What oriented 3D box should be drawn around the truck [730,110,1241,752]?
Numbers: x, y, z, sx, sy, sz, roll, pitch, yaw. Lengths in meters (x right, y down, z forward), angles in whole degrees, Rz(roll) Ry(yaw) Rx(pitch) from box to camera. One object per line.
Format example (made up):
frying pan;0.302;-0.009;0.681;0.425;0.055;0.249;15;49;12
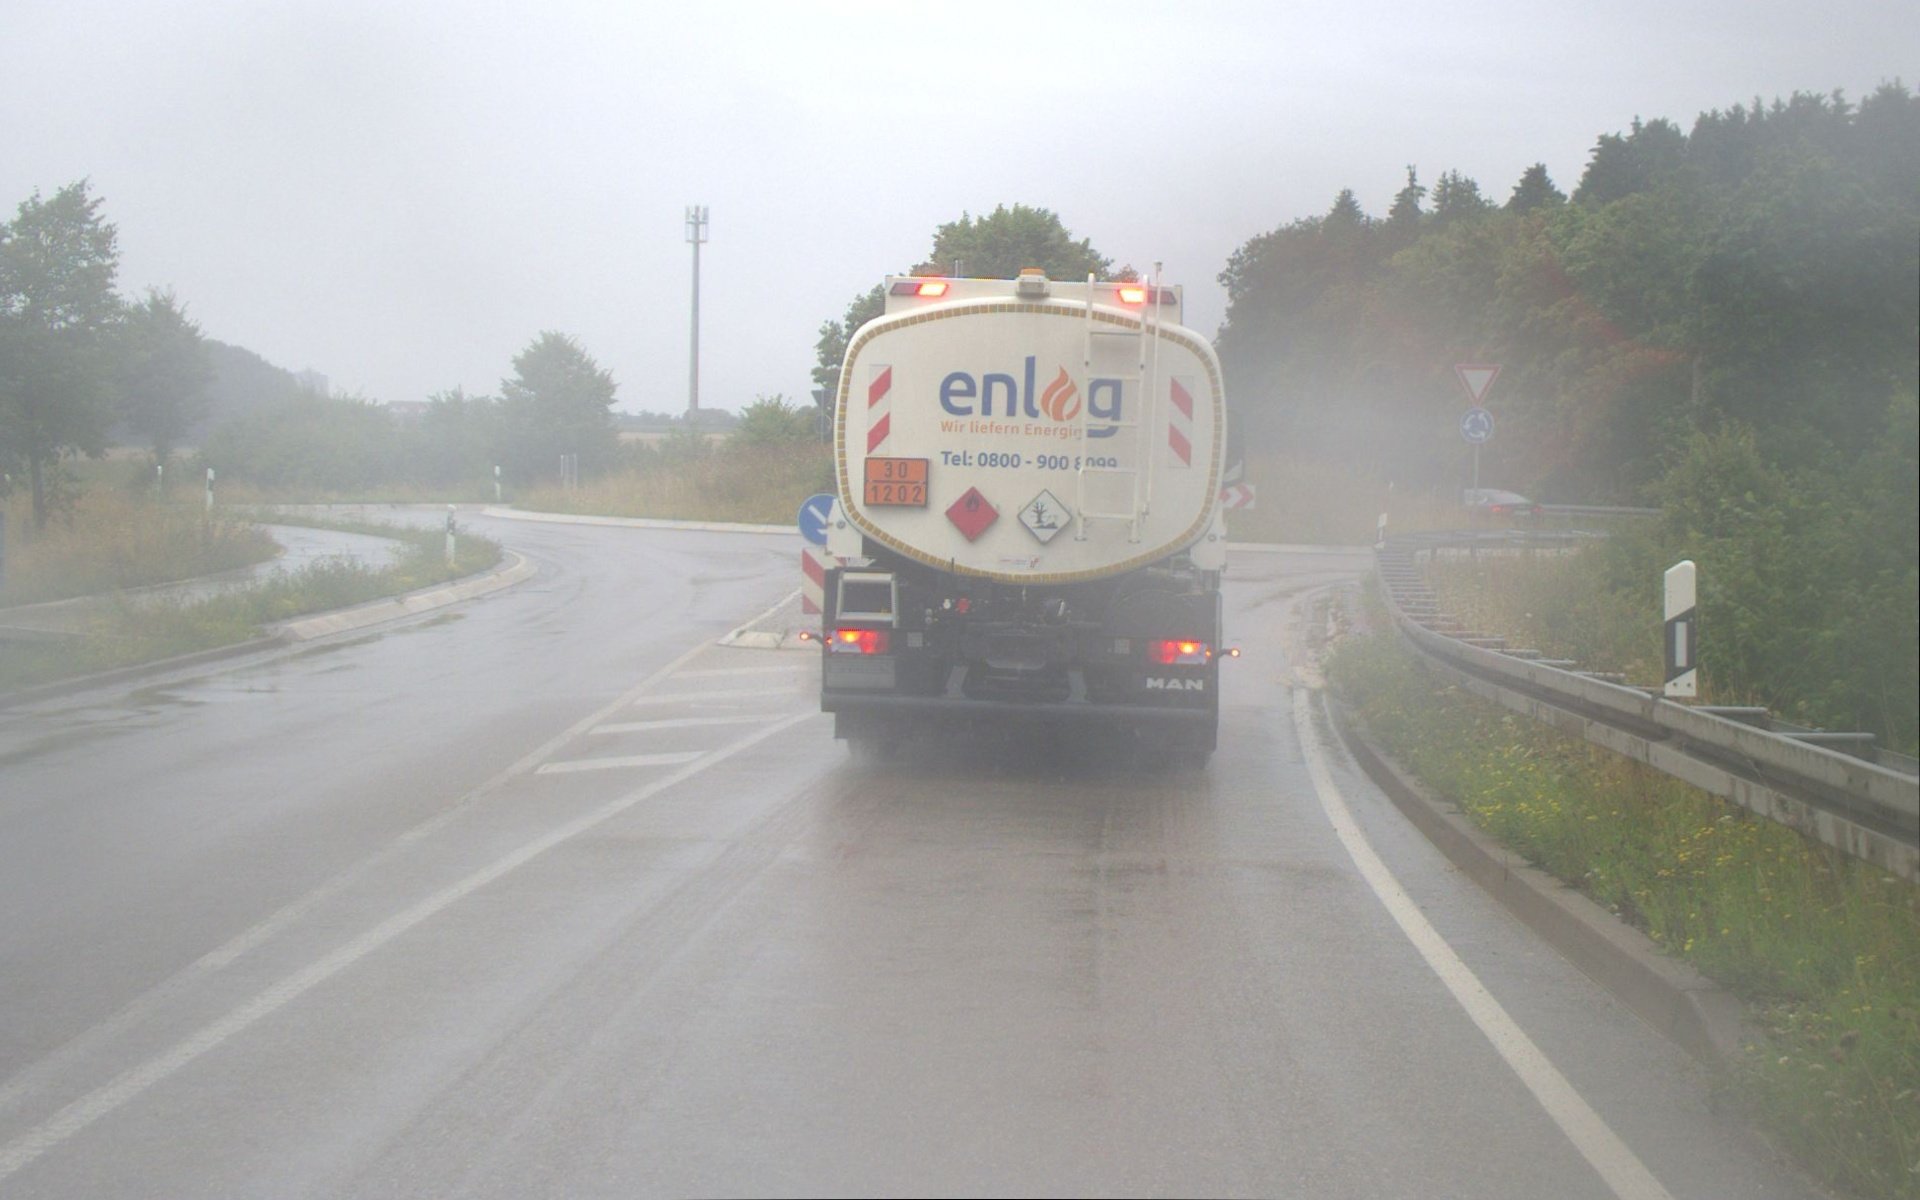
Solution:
truck;0.441;-1.193;25.150;3.039;3.838;8.822;1;2;4
